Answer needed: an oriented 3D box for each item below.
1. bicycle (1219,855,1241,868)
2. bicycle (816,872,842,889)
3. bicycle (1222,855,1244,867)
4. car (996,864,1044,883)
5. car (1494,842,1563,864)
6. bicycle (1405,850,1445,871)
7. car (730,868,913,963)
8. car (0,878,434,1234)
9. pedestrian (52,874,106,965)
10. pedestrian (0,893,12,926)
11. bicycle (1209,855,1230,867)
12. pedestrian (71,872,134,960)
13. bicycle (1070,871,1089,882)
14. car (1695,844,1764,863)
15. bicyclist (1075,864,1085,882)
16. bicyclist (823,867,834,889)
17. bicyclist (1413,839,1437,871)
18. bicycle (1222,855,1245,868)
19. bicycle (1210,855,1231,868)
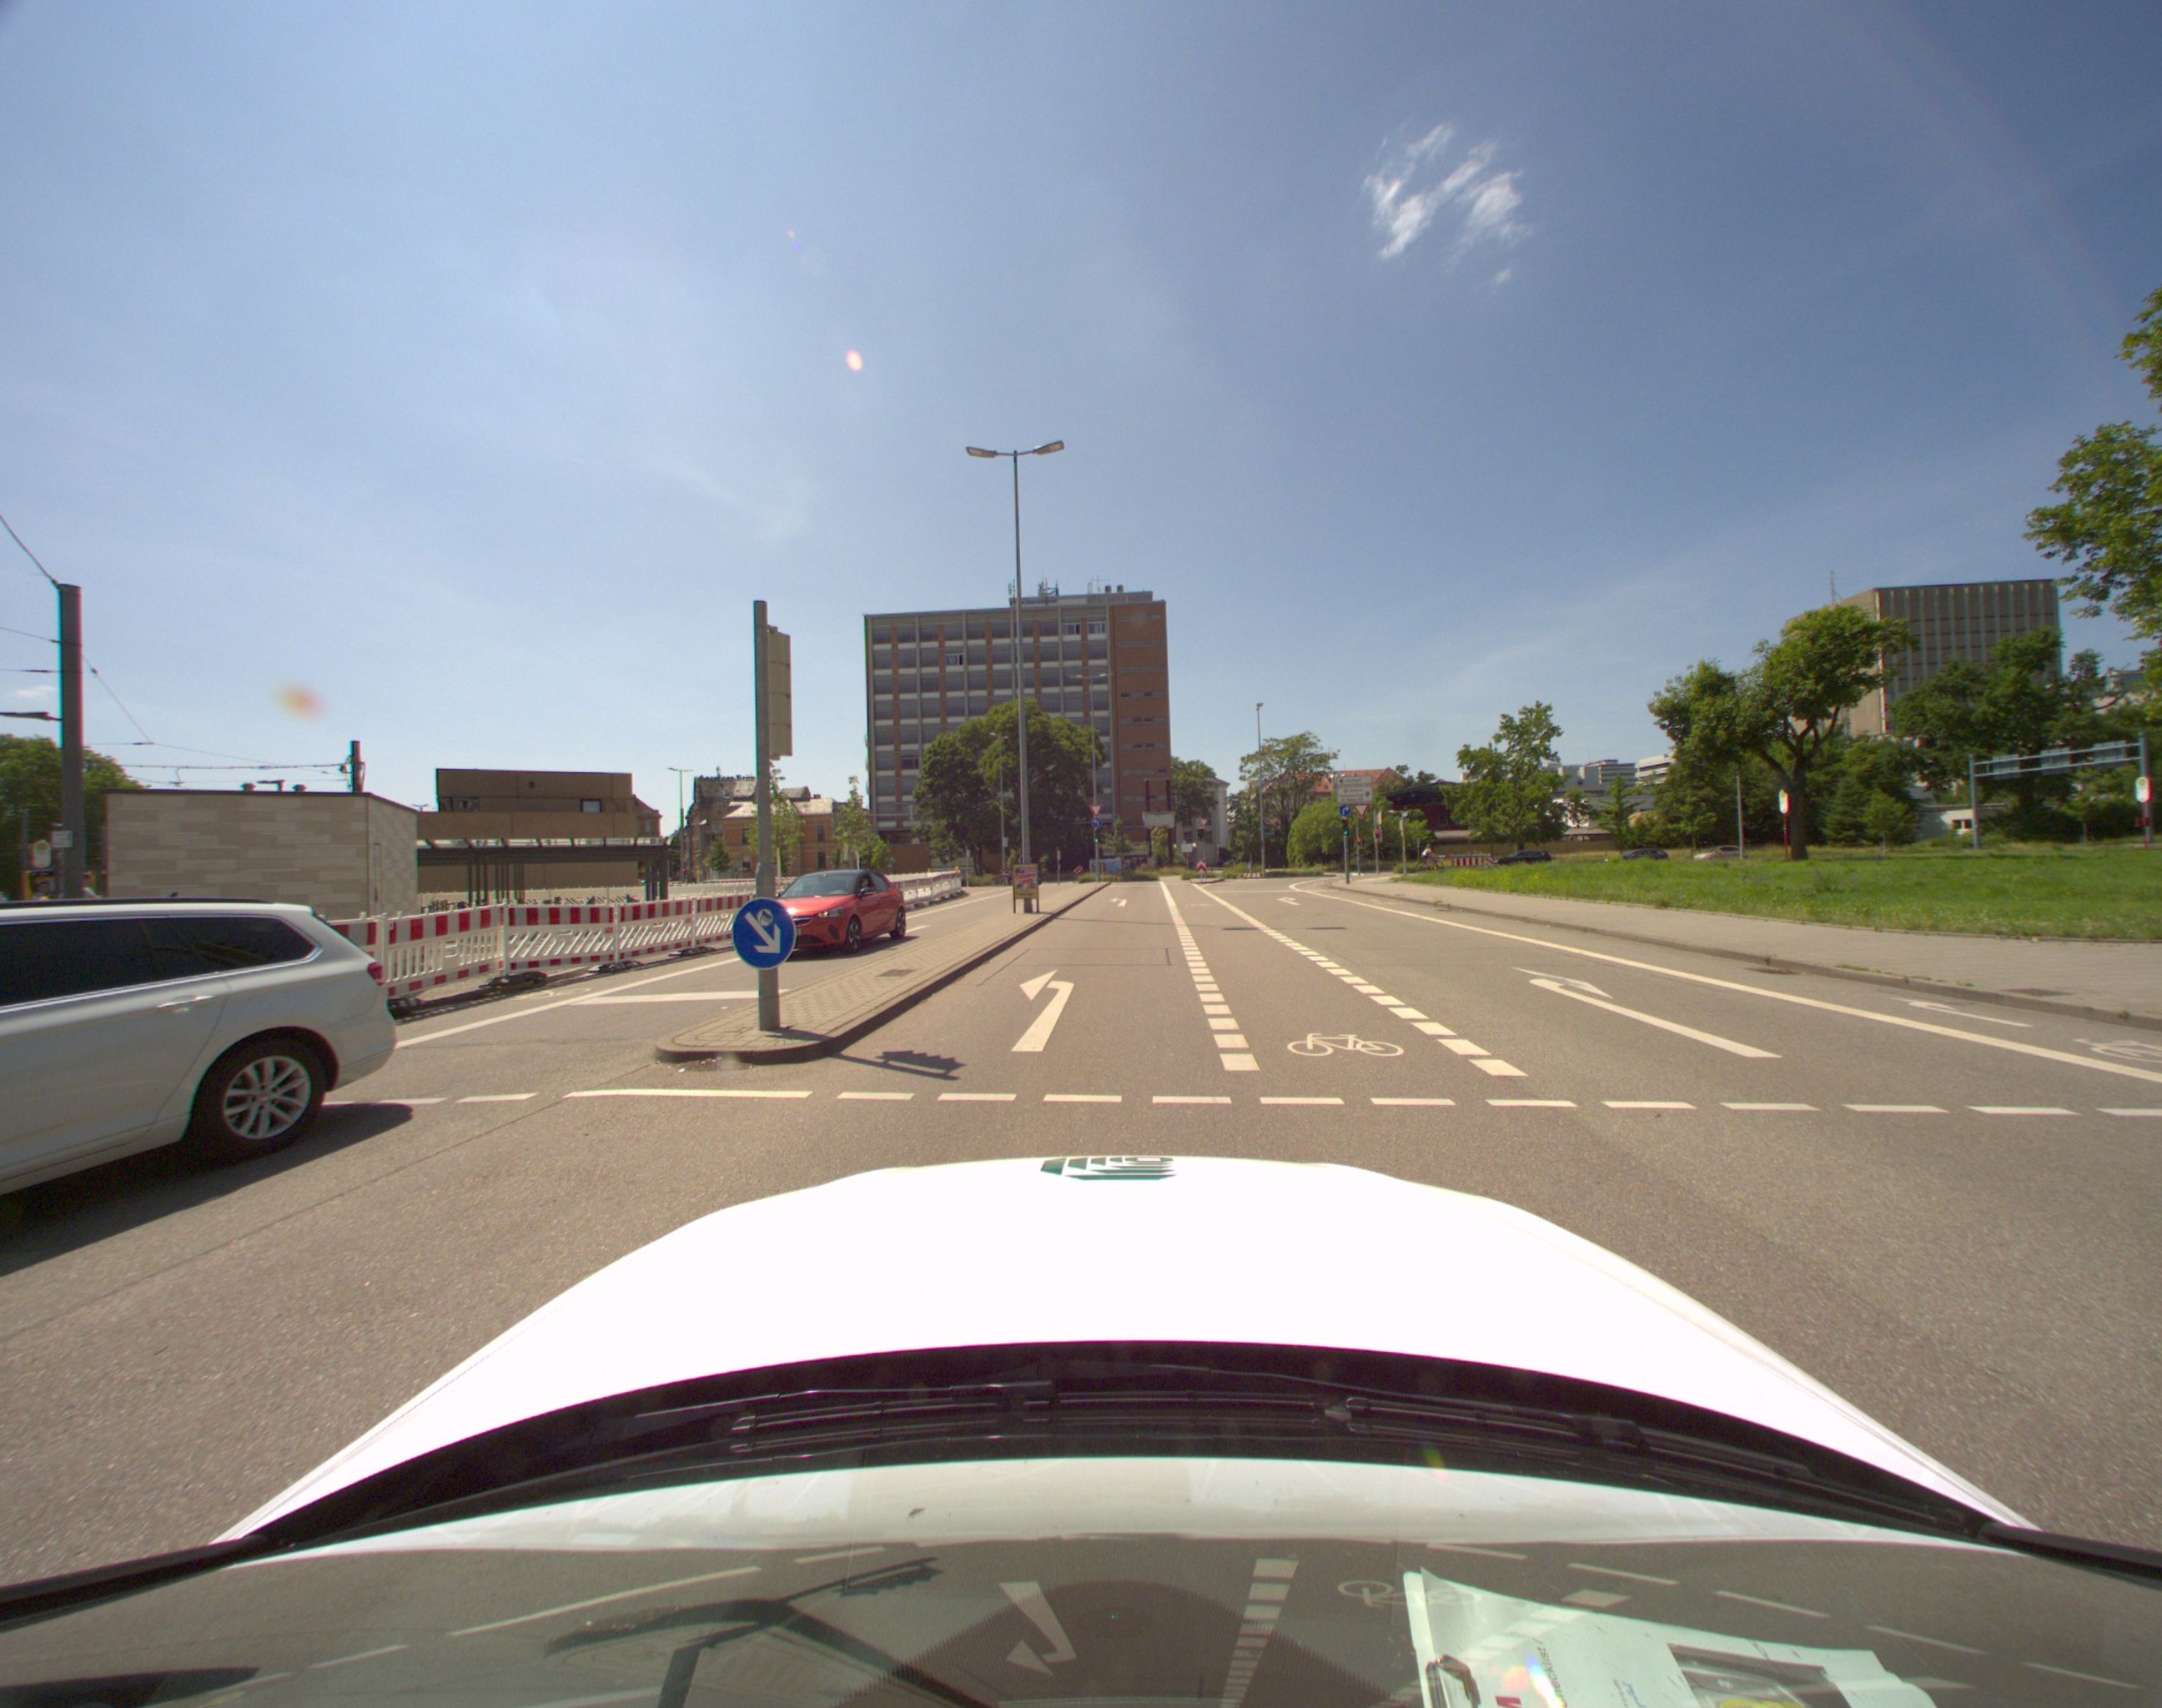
[{"bbox_3d":[24.156,1.205,132.226,3.429,2.014,0.762,0,-1,6],"label":"bicycle"},{"bbox_3d":[-18.481,1.955,59.738,1.875,1.180,0.527,-3,-2,22],"label":"bicycle"},{"bbox_3d":[24.913,1.111,133.573,3.429,2.014,0.762,0,-1,6],"label":"bicycle"},{"bbox_3d":[-5.208,1.672,69.818,3.733,1.552,1.625,0,-1,16],"label":"car"},{"bbox_3d":[35.935,-0.048,65.521,4.512,1.586,1.714,-3,-1,10],"label":"car"},{"bbox_3d":[20.446,0.414,48.436,2.180,1.237,0.520,0,-1,-4],"label":"bicycle"},{"bbox_3d":[-4.557,1.017,14.976,1.680,1.378,4.019,-4,-1,5],"label":"car"},{"bbox_3d":[-5.439,0.920,3.333,1.808,1.428,4.430,-4,-1,3],"label":"car"},{"bbox_3d":[-20.160,1.292,16.391,0.543,1.756,0.651,1,-1,-40],"label":"pedestrian"},{"bbox_3d":[-45.940,2.360,34.583,0.512,1.366,0.519,1,-1,-33],"label":"pedestrian"},{"bbox_3d":[23.490,1.233,137.810,3.429,2.014,0.762,0,-1,6],"label":"bicycle"},{"bbox_3d":[-20.620,1.281,17.175,0.647,1.789,0.631,1,-1,-31],"label":"pedestrian"},{"bbox_3d":[-0.100,2.181,79.141,2.008,1.045,0.552,-2,0,-44],"label":"bicycle"},{"bbox_3d":[50.802,-0.009,63.853,3.969,1.439,1.762,0,-1,4],"label":"car"},{"bbox_3d":[-0.098,1.829,79.155,0.707,1.715,0.545,-1,0,-45],"label":"bicyclist"},{"bbox_3d":[-18.514,1.754,59.748,0.492,1.580,0.534,-3,-2,22],"label":"bicyclist"},{"bbox_3d":[20.435,0.083,48.363,1.132,1.887,0.708,0,-1,-4],"label":"bicyclist"},{"bbox_3d":[23.613,1.197,126.095,3.429,2.014,0.762,0,-1,6],"label":"bicycle"},{"bbox_3d":[23.176,1.246,135.427,3.429,2.014,0.762,0,-1,6],"label":"bicycle"}]
